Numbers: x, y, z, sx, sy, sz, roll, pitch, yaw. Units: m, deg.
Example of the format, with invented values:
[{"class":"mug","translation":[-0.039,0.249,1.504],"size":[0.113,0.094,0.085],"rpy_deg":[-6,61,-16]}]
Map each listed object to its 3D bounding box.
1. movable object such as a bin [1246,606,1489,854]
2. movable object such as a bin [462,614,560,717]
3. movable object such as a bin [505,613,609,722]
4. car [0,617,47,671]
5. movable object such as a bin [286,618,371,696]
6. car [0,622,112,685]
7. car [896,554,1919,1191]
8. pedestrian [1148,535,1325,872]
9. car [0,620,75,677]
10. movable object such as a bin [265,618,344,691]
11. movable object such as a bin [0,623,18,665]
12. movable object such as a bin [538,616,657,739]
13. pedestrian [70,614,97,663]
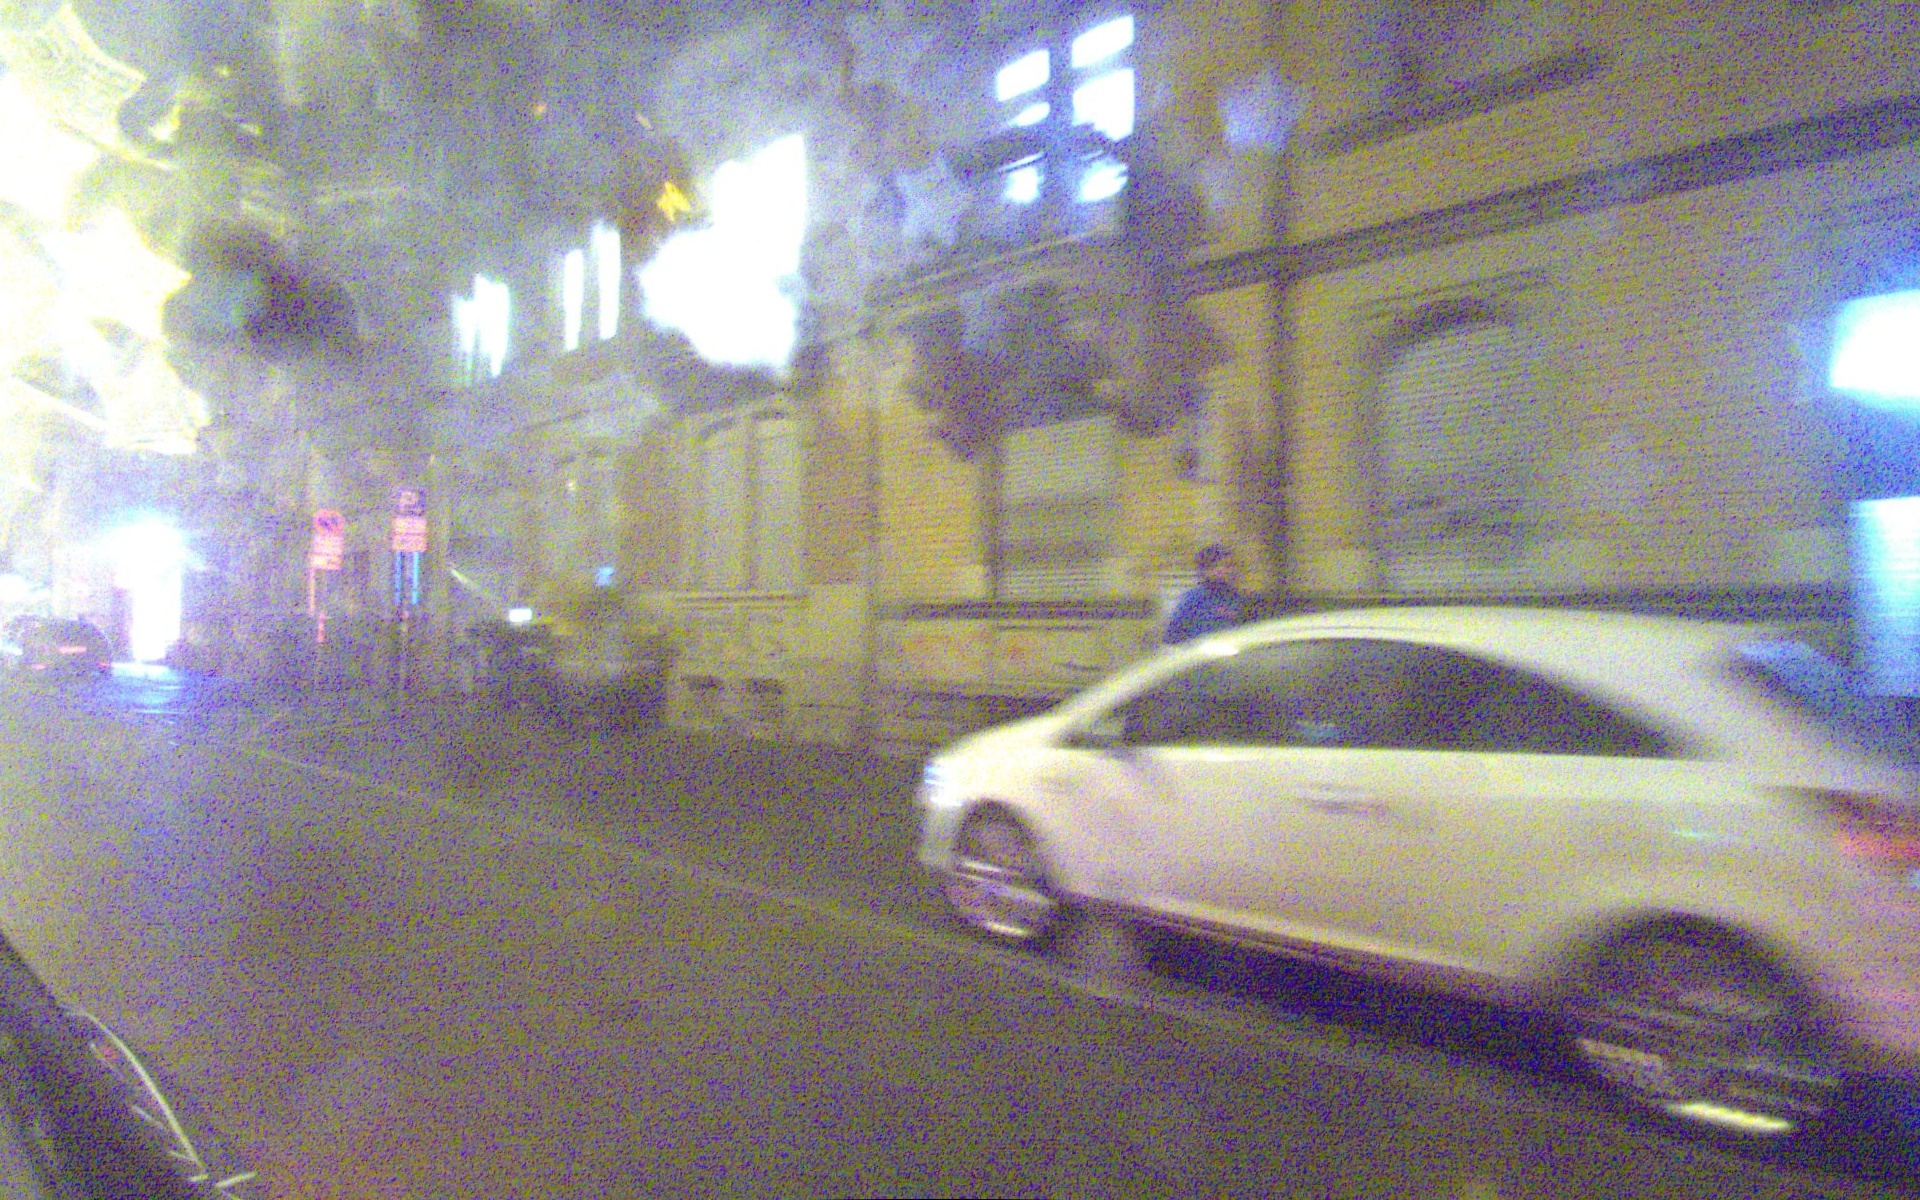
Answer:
[{"class":"movable object such as a bin","translation":[2.666,0.763,6.630],"size":[1.158,1.409,1.036],"rpy_deg":[-2,0,43]},{"class":"movable object such as a bin","translation":[-6.680,0.939,15.050],"size":[1.133,1.430,0.964],"rpy_deg":[-2,0,43]},{"class":"movable object such as a bin","translation":[-5.704,0.923,14.327],"size":[1.133,1.430,0.964],"rpy_deg":[-2,0,43]},{"class":"car","translation":[-31.732,1.427,33.654],"size":[3.719,1.719,1.587],"rpy_deg":[-1,-2,41]},{"class":"movable object such as a bin","translation":[-12.427,1.091,19.917],"size":[1.248,1.430,1.128],"rpy_deg":[-2,0,43]},{"class":"car","translation":[-23.301,1.338,25.992],"size":[4.313,1.466,1.669],"rpy_deg":[-2,-1,41]},{"class":"car","translation":[1.628,0.672,4.015],"size":[3.792,1.494,1.570],"rpy_deg":[-1,-1,42]},{"class":"pedestrian","translation":[1.633,0.565,5.986],"size":[0.794,1.834,0.585],"rpy_deg":[-1,0,41]},{"class":"car","translation":[-27.350,1.390,29.658],"size":[4.023,1.564,1.587],"rpy_deg":[-2,-1,41]},{"class":"movable object such as a bin","translation":[-13.598,1.111,21.000],"size":[1.154,1.430,1.128],"rpy_deg":[-2,0,43]},{"class":"movable object such as a bin","translation":[-34.353,1.556,35.917],"size":[1.151,1.470,1.248],"rpy_deg":[-1,0,43]},{"class":"movable object such as a bin","translation":[-4.515,0.922,12.601],"size":[1.133,1.409,0.964],"rpy_deg":[-2,0,43]},{"class":"pedestrian","translation":[-32.104,1.414,37.073],"size":[0.549,1.794,0.632],"rpy_deg":[-2,-2,41]}]
